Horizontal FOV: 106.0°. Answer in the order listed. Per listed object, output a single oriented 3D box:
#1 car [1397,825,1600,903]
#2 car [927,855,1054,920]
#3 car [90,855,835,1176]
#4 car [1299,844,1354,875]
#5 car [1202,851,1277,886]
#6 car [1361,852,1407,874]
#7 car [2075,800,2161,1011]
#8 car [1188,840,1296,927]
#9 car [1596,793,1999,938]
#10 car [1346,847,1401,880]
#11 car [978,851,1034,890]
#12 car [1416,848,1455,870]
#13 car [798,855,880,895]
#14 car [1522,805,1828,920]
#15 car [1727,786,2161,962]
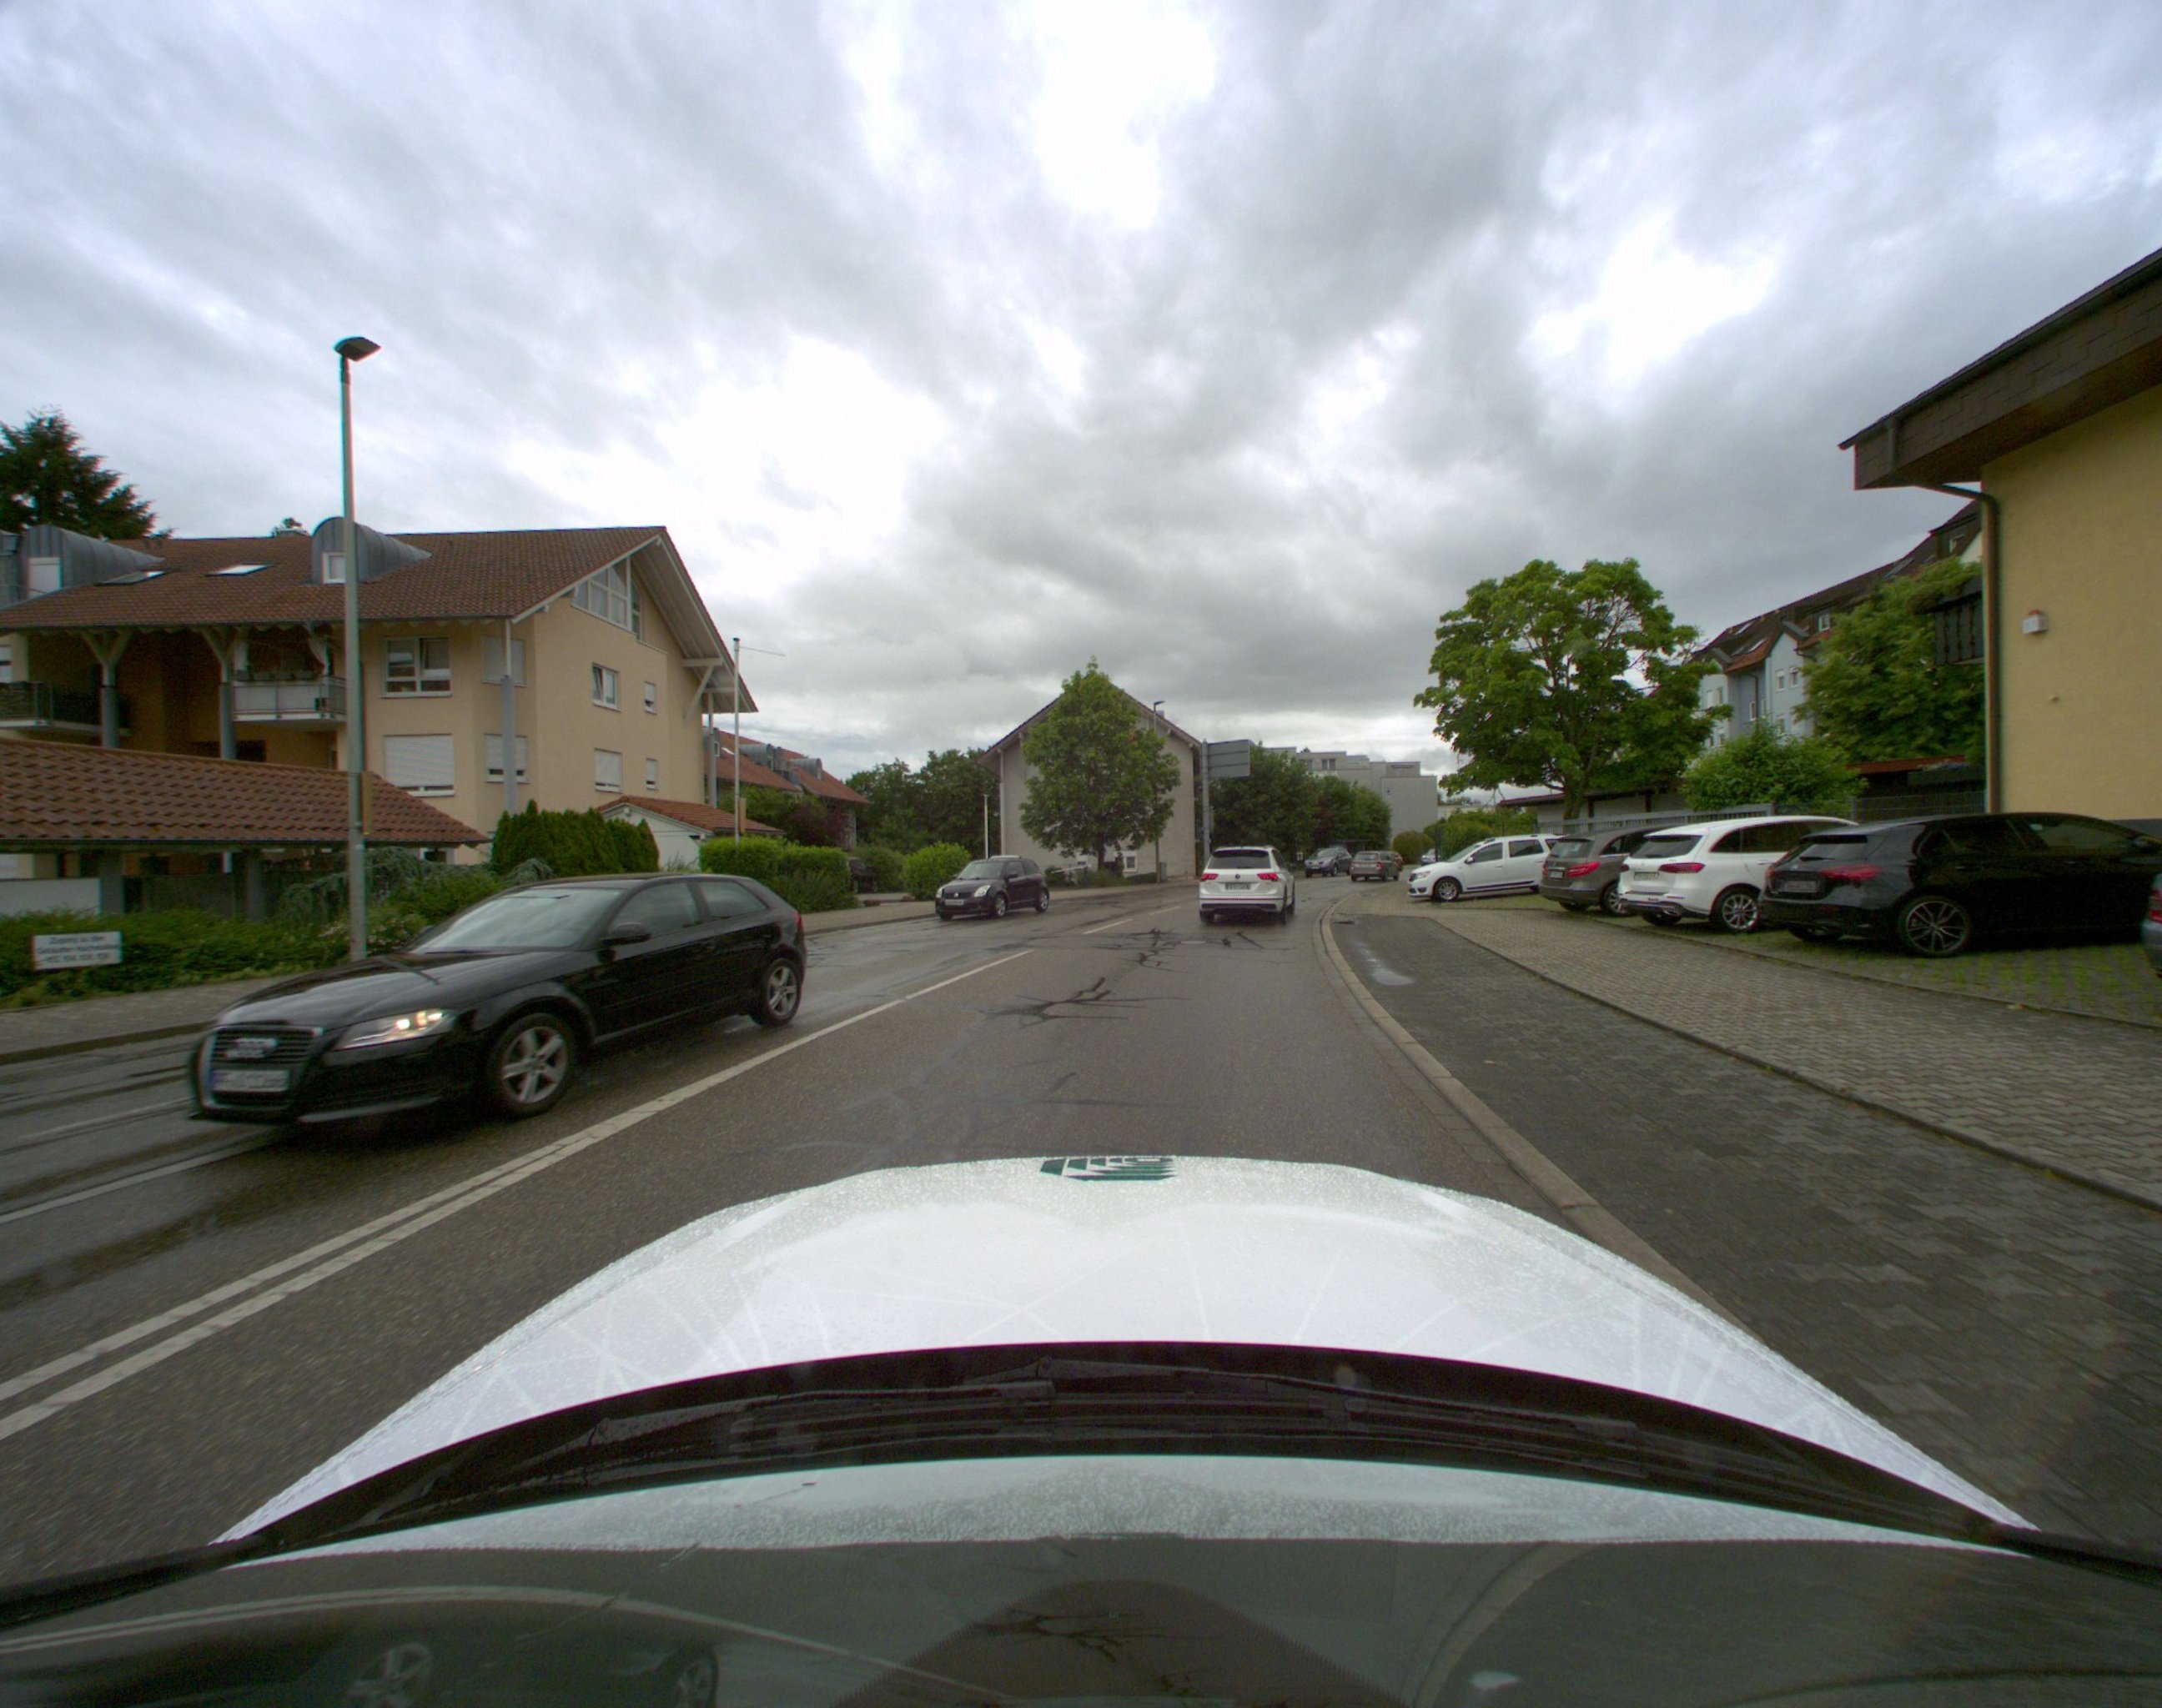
[{"bbox_3d":[10.800,0.264,21.384,4.311,1.596,1.772,-5,-1,12],"label":"car"},{"bbox_3d":[-2.217,0.815,21.025,1.573,1.422,3.715,-2,0,23],"label":"car"},{"bbox_3d":[-3.846,0.803,6.213,1.847,1.518,4.307,-1,0,13],"label":"car"},{"bbox_3d":[14.636,0.314,48.432,1.883,1.657,4.294,-1,1,35],"label":"car"},{"bbox_3d":[7.457,0.627,37.926,1.883,1.390,4.518,0,1,32],"label":"car"},{"bbox_3d":[21.395,0.646,57.354,1.883,1.439,4.141,-2,0,37],"label":"car"},{"bbox_3d":[9.490,0.167,5.026,4.342,1.423,1.697,-5,-1,3],"label":"car"},{"bbox_3d":[3.792,0.568,18.565,1.905,1.722,4.285,-1,1,18],"label":"car"},{"bbox_3d":[10.199,0.169,11.898,4.027,1.596,1.898,-5,-1,3],"label":"car"},{"bbox_3d":[14.318,0.487,39.739,1.748,1.510,4.024,-1,-2,31],"label":"car"},{"bbox_3d":[-3.264,0.757,36.164,1.986,1.651,4.000,0,-2,1],"label":"car"},{"bbox_3d":[28.486,0.382,65.402,1.883,1.657,4.141,-2,0,37],"label":"car"},{"bbox_3d":[-10.542,0.924,35.800,1.983,1.651,4.007,0,-2,7],"label":"car"},{"bbox_3d":[10.632,0.162,14.864,4.024,1.596,1.908,-5,-1,5],"label":"car"},{"bbox_3d":[10.028,0.173,9.013,4.022,1.489,1.909,-5,-1,7],"label":"car"}]
